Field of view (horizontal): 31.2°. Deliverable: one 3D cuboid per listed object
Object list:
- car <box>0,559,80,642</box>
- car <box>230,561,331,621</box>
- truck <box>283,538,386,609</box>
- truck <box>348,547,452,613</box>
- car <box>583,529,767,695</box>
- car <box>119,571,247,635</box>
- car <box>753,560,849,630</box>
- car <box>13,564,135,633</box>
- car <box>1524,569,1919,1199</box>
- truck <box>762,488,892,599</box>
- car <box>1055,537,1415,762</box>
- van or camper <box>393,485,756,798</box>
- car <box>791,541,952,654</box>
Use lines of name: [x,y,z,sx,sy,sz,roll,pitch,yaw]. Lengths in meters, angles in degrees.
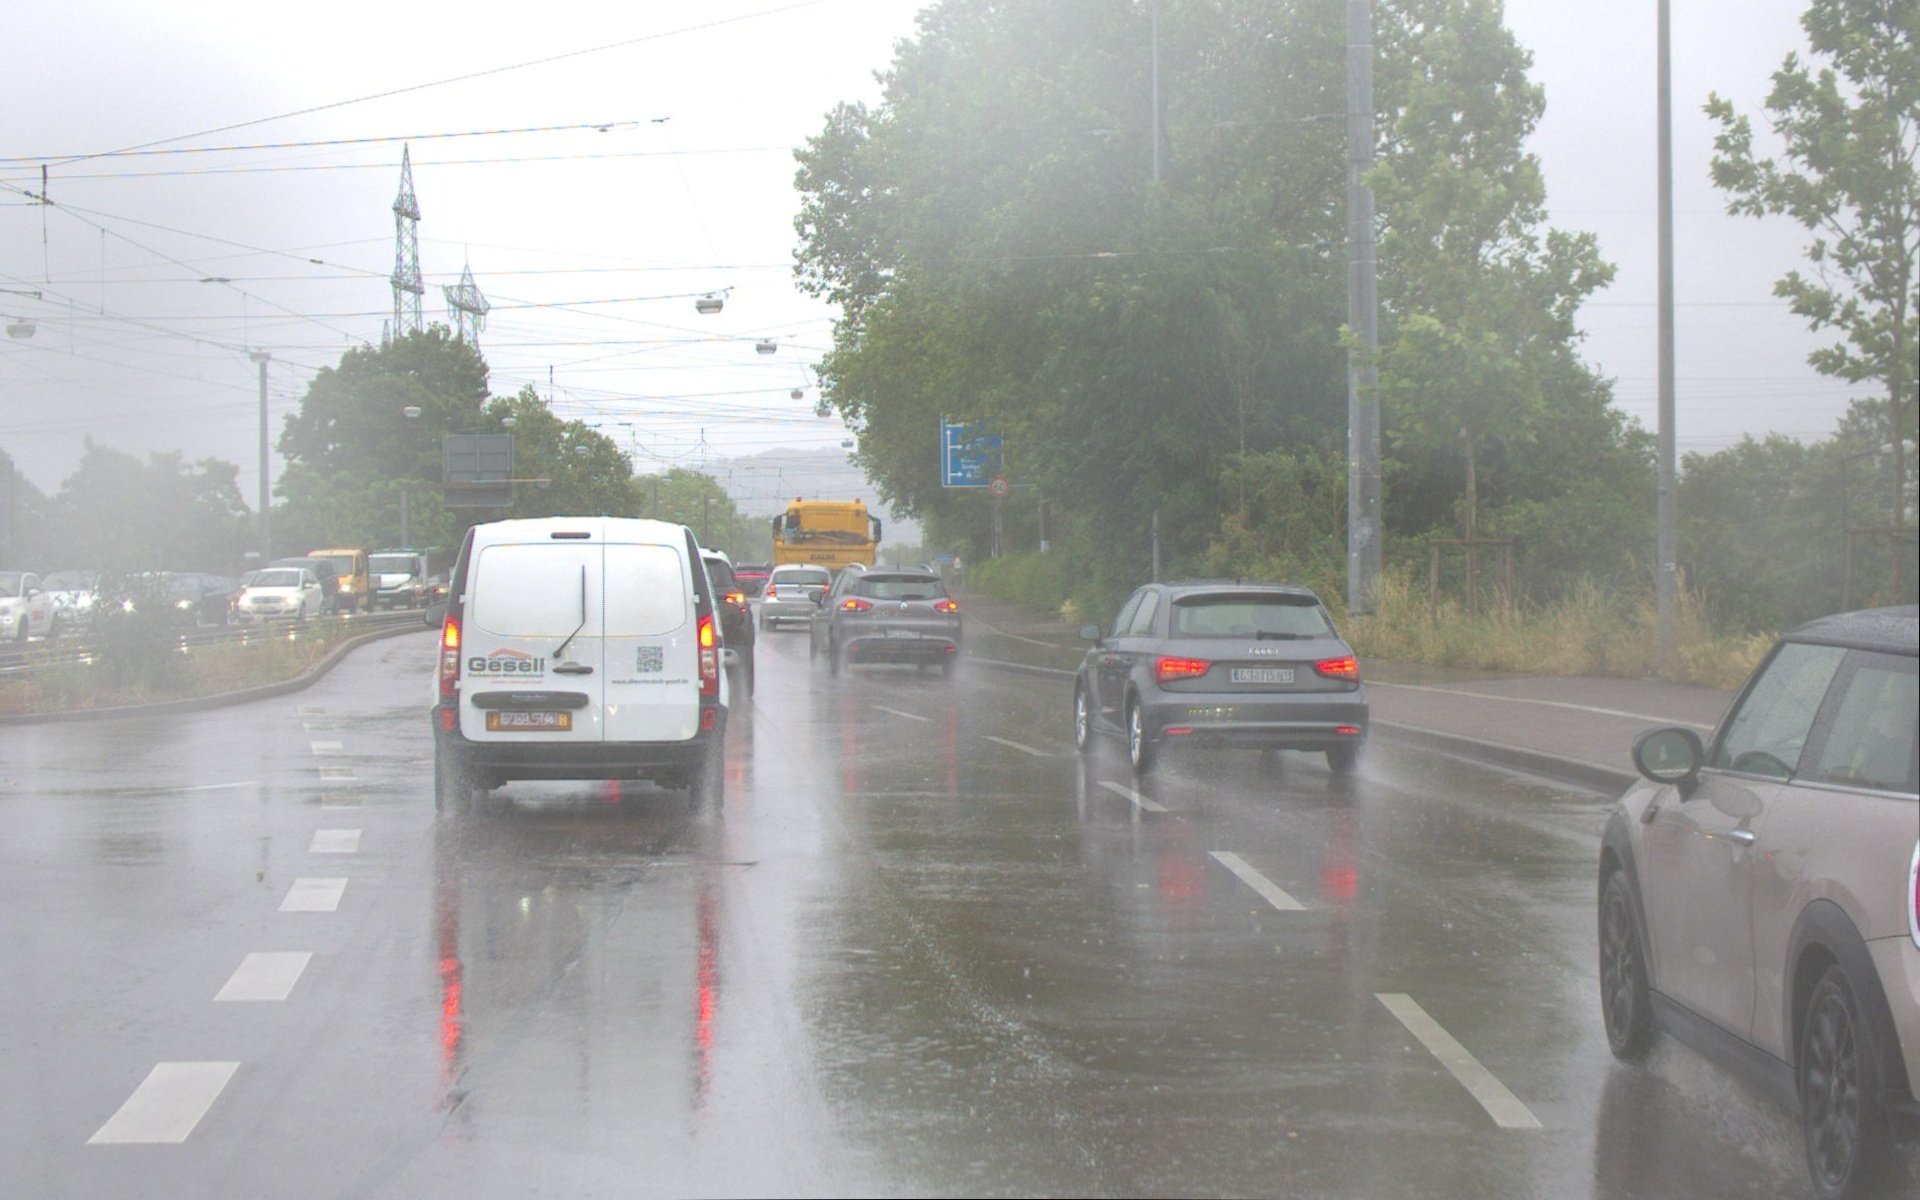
car: [-19.439,-0.015,69.913,1.712,1.530,4.047,1,2,5]
car: [-19.337,-0.282,97.966,1.873,1.568,4.328,1,2,2]
truck: [-22.648,-0.961,124.625,2.227,2.453,6.066,1,1,4]
truck: [-21.930,-0.800,134.930,2.435,2.449,7.218,1,1,4]
car: [-3.178,0.080,38.377,1.899,1.711,4.726,0,1,-5]
car: [-19.378,0.055,85.925,1.923,1.418,5.083,1,2,1]
car: [-3.371,-0.133,73.618,1.818,1.409,3.778,1,1,1]
car: [-22.850,-0.060,88.805,1.907,1.601,4.842,2,1,-1]
car: [2.747,0.656,9.269,1.791,1.409,3.854,1,1,0]
truck: [-3.380,-1.449,89.002,3.113,2.764,6.329,0,1,0]
car: [1.971,0.312,25.844,1.967,1.523,3.992,0,1,-6]
van or camper: [-2.345,0.181,21.857,1.993,1.778,4.001,1,2,-2]
car: [-1.227,-0.065,46.015,1.818,1.409,3.779,0,1,-7]
